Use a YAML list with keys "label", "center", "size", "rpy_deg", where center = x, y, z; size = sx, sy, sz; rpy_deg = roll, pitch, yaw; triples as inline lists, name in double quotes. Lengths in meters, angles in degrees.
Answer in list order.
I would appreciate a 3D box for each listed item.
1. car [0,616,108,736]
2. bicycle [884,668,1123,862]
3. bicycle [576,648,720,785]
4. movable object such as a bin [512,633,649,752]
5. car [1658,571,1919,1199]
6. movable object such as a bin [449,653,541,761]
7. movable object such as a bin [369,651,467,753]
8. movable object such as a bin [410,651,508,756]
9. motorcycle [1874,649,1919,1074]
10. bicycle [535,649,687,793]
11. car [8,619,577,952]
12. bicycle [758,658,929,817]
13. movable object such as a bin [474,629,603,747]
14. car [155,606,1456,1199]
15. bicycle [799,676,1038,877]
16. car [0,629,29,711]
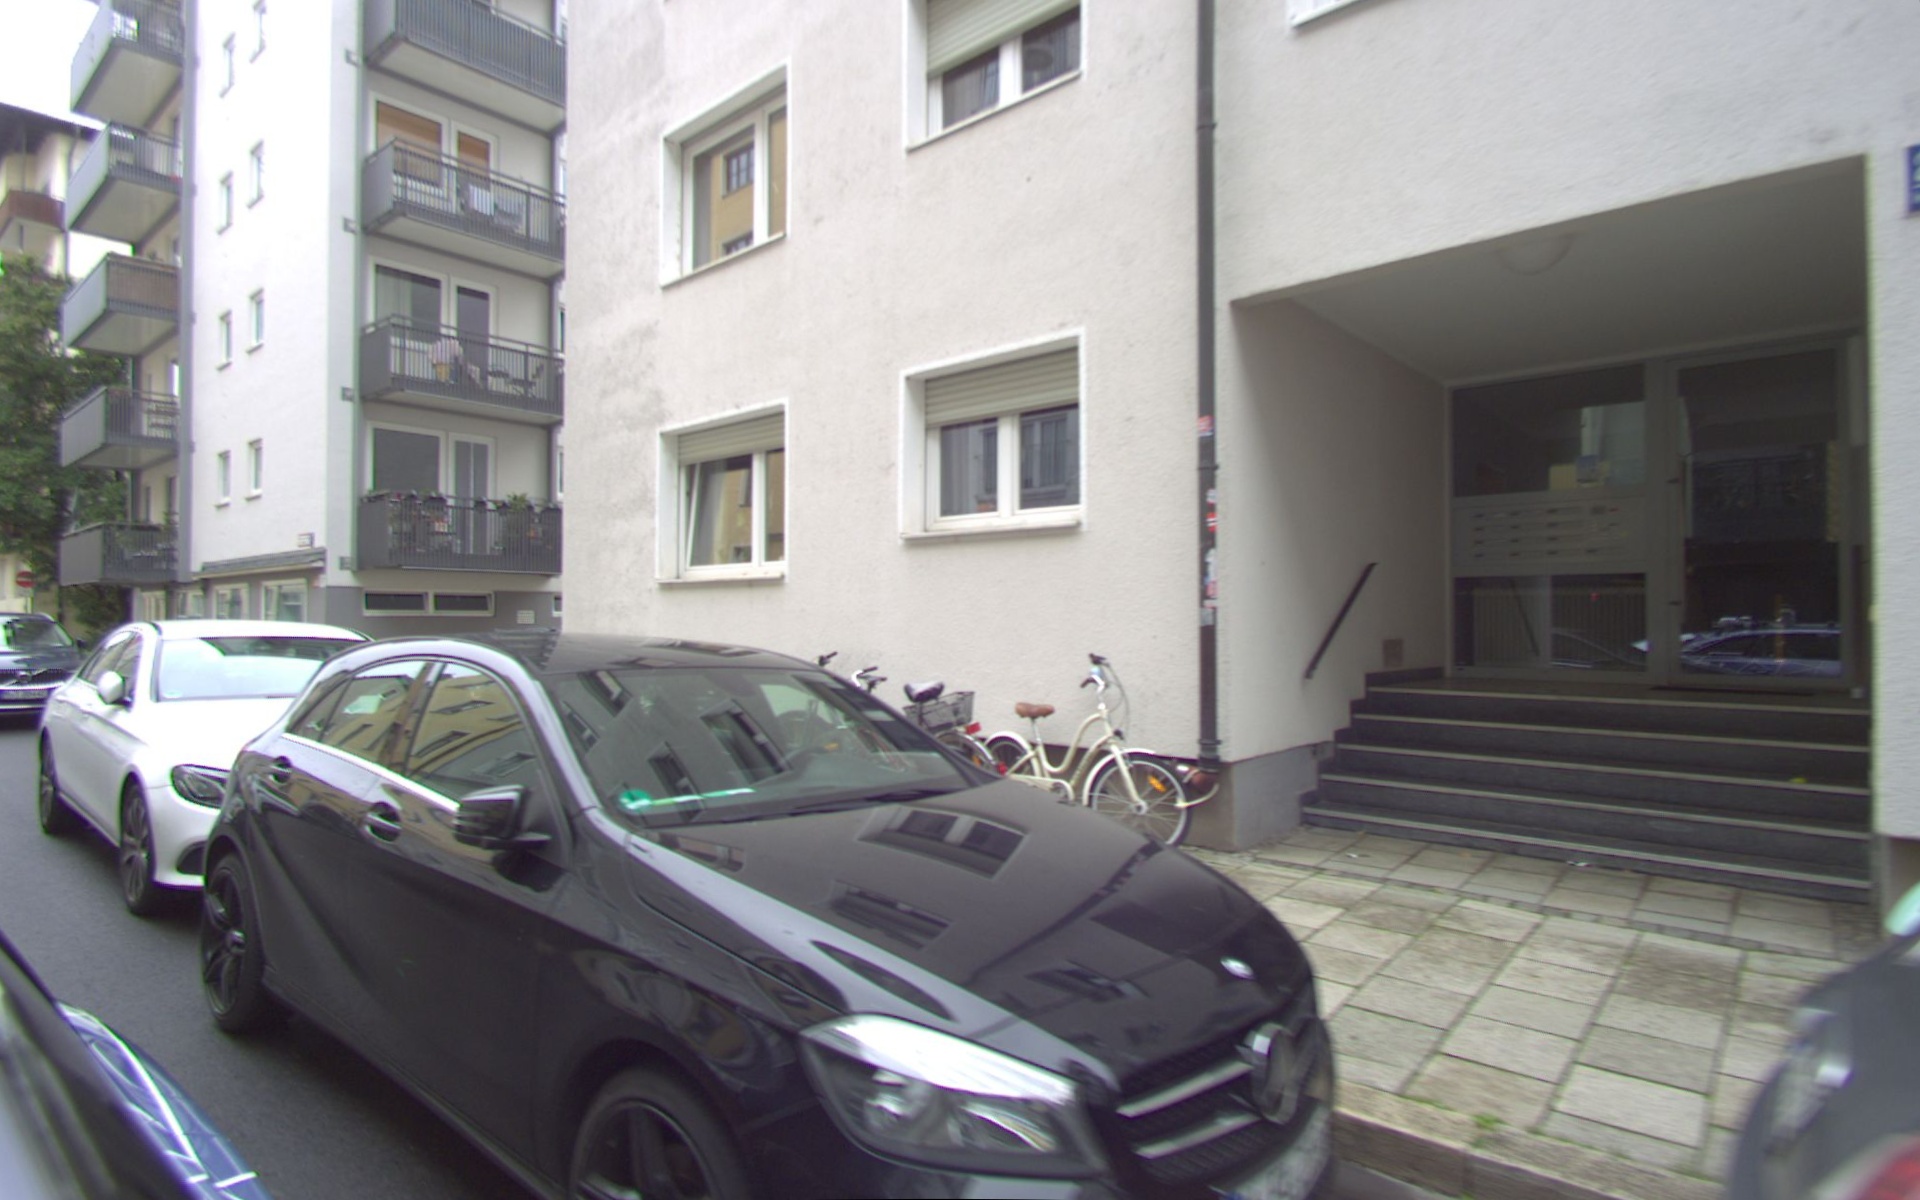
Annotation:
- label: "car"
  center: [-14.582, 1.064, 15.244]
  size: [4.537, 1.619, 1.947]
  rpy_deg: [-1, -2, 41]
- label: "bicycle"
  center: [0.228, 0.957, 6.267]
  size: [1.574, 1.024, 0.394]
  rpy_deg: [-1, -3, 41]
- label: "bicycle"
  center: [-2.904, 1.029, 9.347]
  size: [1.680, 1.147, 0.338]
  rpy_deg: [-1, -2, 37]
- label: "movable object such as a bin"
  center: [-4.403, 1.031, 11.759]
  size: [1.096, 1.273, 1.108]
  rpy_deg: [-1, -2, 42]
- label: "car"
  center: [2.628, 0.722, 0.357]
  size: [3.742, 1.457, 1.594]
  rpy_deg: [-1, -4, 43]
- label: "movable object such as a bin"
  center: [-5.009, 1.126, 10.920]
  size: [0.603, 1.084, 0.684]
  rpy_deg: [-1, -2, 35]
- label: "movable object such as a bin"
  center: [-6.178, 1.134, 11.552]
  size: [0.677, 1.084, 0.761]
  rpy_deg: [-1, -2, 35]
- label: "movable object such as a bin"
  center: [-5.560, 1.127, 11.239]
  size: [0.634, 1.084, 0.761]
  rpy_deg: [-1, -2, 35]
- label: "motorcycle"
  center: [3.684, 0.752, 2.634]
  size: [1.855, 1.213, 0.594]
  rpy_deg: [-1, -2, 36]
- label: "bicycle"
  center: [-3.128, 1.028, 9.002]
  size: [1.681, 1.147, 0.400]
  rpy_deg: [-1, -2, 37]
- label: "car"
  center: [-4.658, 0.863, 6.713]
  size: [4.805, 1.448, 1.892]
  rpy_deg: [-1, -2, 41]
- label: "bicycle"
  center: [-0.880, 0.955, 7.397]
  size: [1.441, 1.024, 0.375]
  rpy_deg: [-1, -3, 42]
- label: "movable object such as a bin"
  center: [-5.215, 1.046, 12.527]
  size: [1.103, 1.364, 1.099]
  rpy_deg: [-1, -2, 42]
- label: "car"
  center: [-0.902, 0.770, 3.274]
  size: [4.222, 1.428, 1.783]
  rpy_deg: [-1, -2, 39]
- label: "bicycle"
  center: [-0.294, 1.003, 6.155]
  size: [1.623, 1.024, 0.383]
  rpy_deg: [-1, -3, 41]
- label: "car"
  center: [-19.153, 1.275, 19.115]
  size: [4.293, 1.453, 1.795]
  rpy_deg: [-1, -2, 41]
